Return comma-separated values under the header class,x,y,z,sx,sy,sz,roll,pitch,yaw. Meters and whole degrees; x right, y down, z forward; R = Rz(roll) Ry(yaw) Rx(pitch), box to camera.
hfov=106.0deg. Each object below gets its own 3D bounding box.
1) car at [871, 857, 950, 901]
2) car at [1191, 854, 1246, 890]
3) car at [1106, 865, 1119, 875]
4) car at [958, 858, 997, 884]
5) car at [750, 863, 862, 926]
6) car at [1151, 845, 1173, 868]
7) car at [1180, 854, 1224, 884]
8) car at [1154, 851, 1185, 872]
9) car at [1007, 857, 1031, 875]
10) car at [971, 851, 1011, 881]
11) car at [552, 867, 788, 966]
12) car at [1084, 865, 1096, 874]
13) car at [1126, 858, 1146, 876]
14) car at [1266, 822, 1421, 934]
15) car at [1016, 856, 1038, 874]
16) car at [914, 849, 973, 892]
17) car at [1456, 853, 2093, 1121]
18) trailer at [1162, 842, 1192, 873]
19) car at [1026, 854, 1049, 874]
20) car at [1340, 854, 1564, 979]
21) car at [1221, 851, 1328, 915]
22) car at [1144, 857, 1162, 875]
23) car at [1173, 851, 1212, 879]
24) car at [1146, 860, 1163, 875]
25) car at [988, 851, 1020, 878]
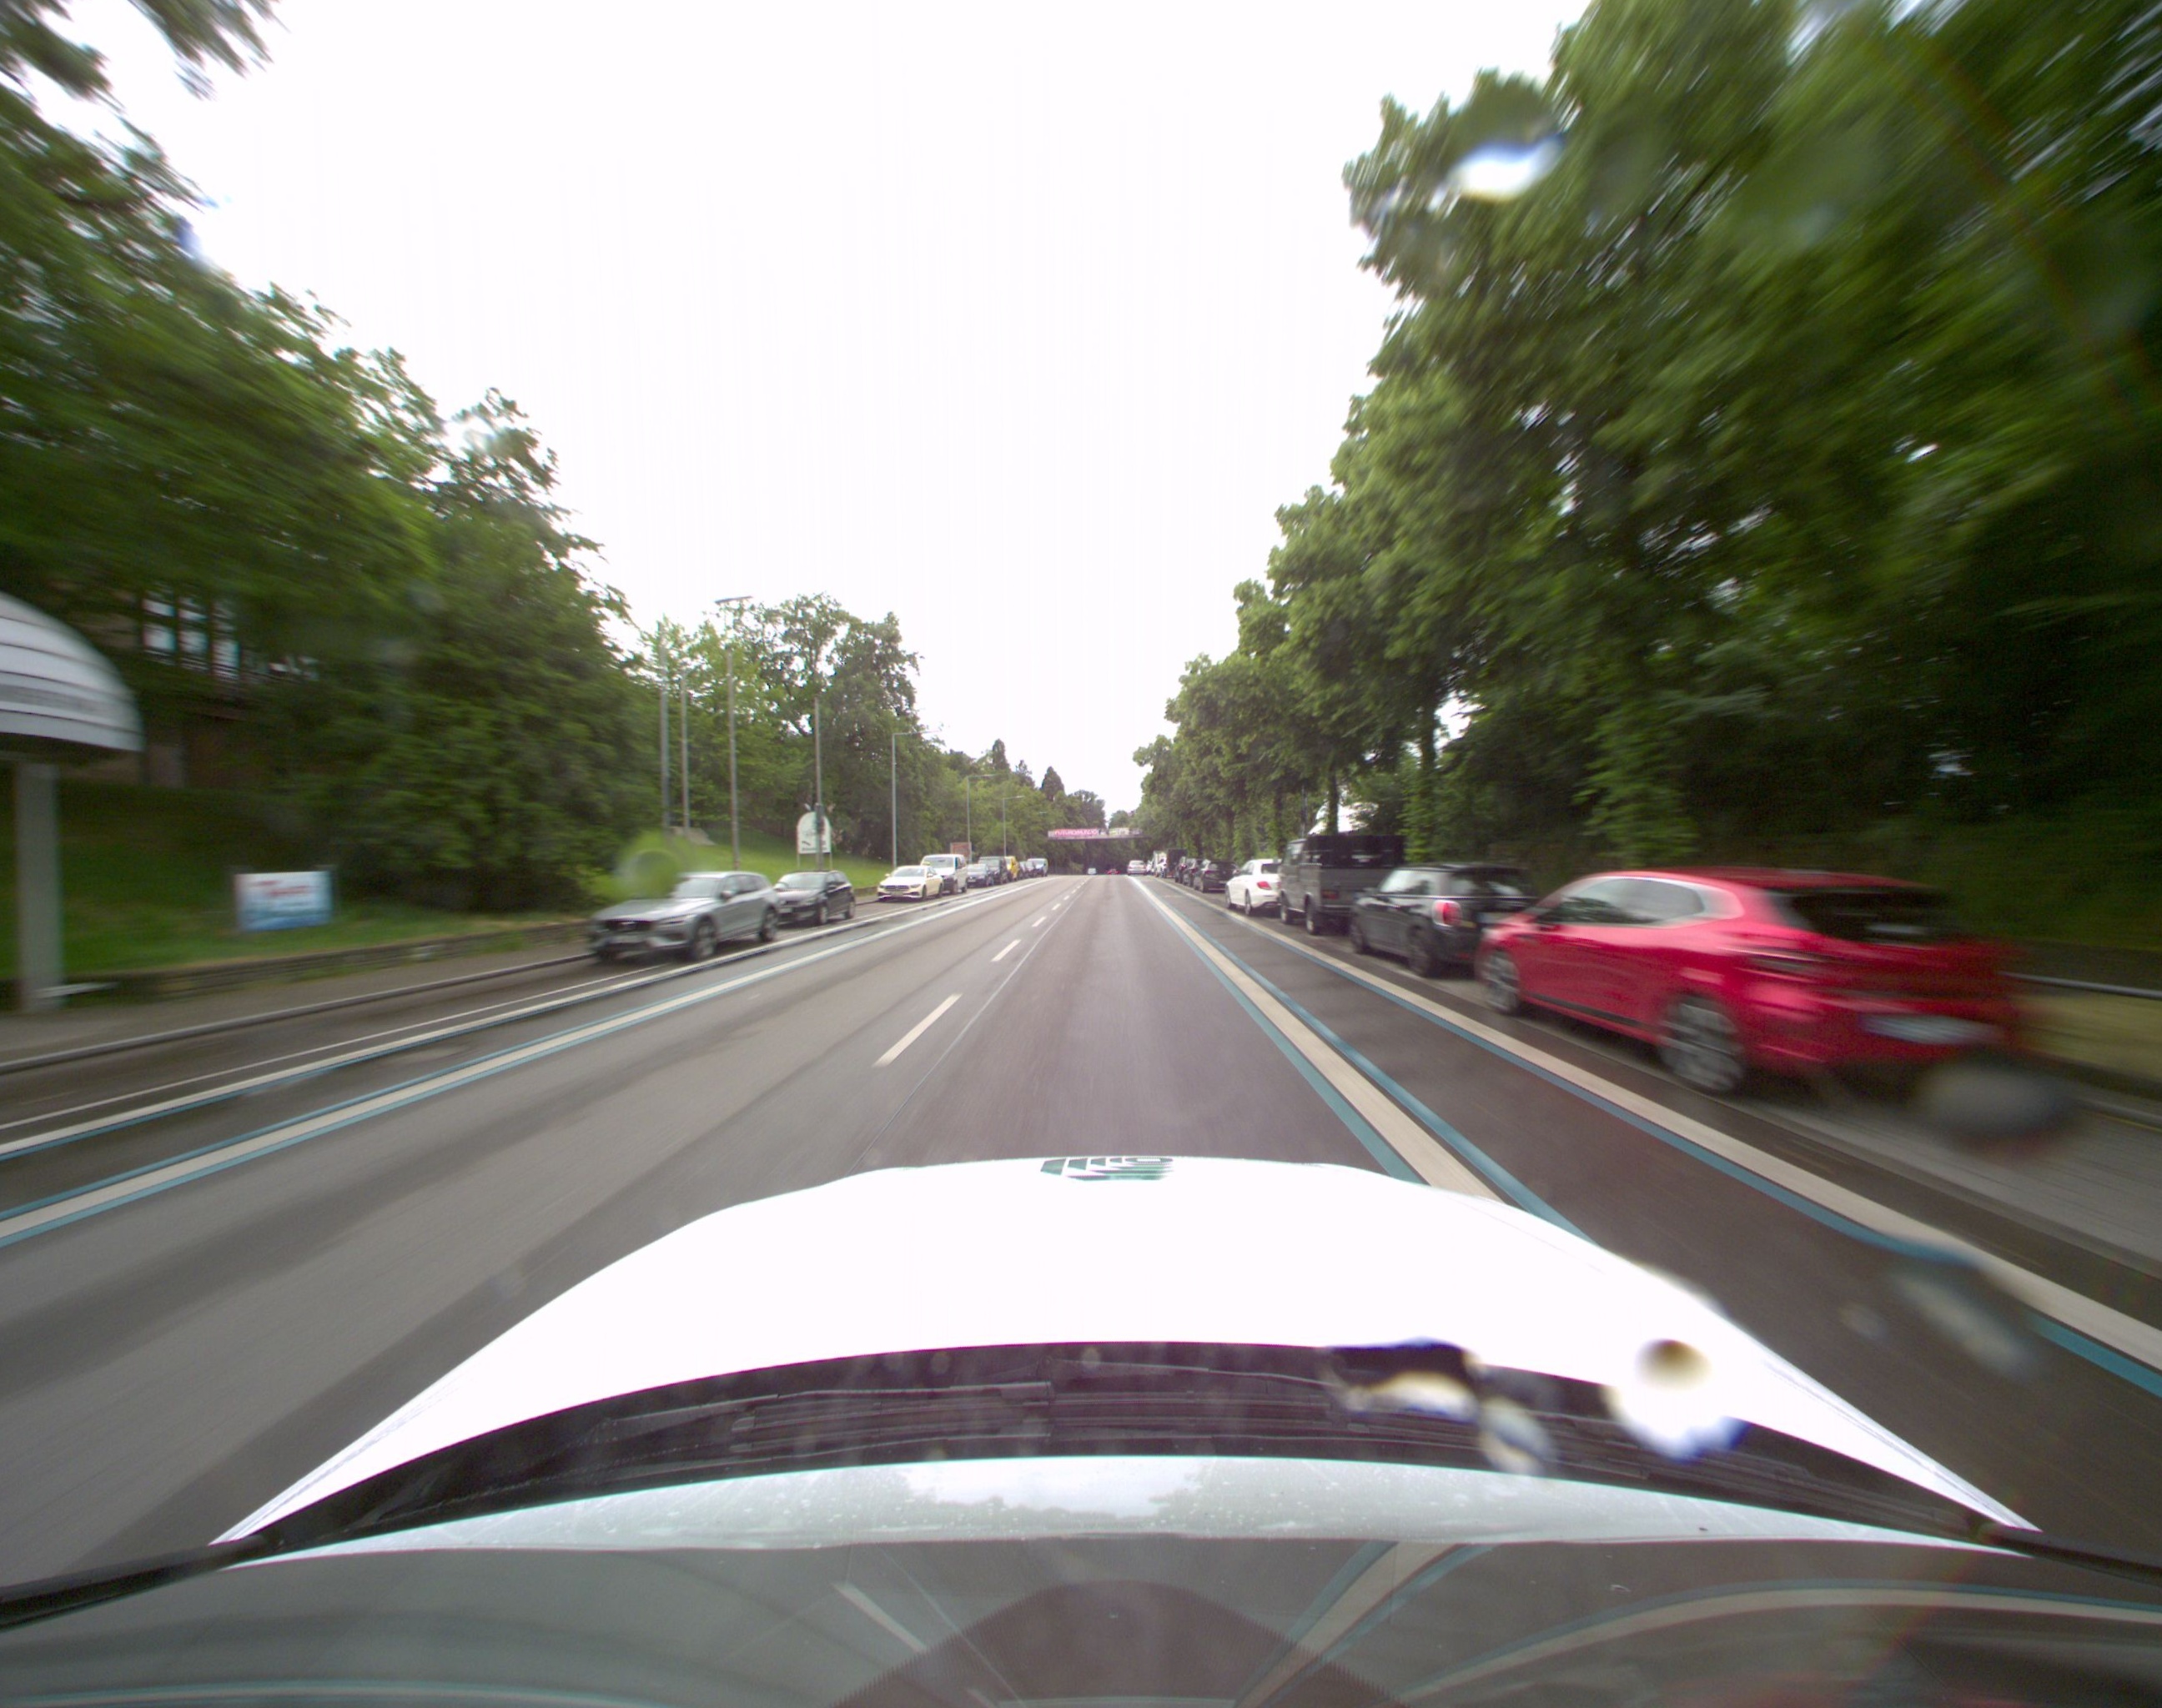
class,x,y,z,sx,sy,sz,roll,pitch,yaw
car,-7.094,0.985,34.441,1.982,1.605,4.989,-2,0,3
car,6.055,0.749,36.276,1.725,1.463,4.277,0,0,0
car,5.610,2.845,145.392,2.134,1.492,4.496,-1,0,-1
car,-6.460,1.032,51.125,1.725,1.390,4.371,-2,1,1
car,-7.370,1.031,22.252,1.690,1.437,4.053,-2,1,-1
car,7.626,0.231,77.172,1.881,2.127,4.048,-2,0,3
car,6.315,0.743,42.723,1.725,1.463,4.072,0,0,0
car,6.972,0.599,64.515,1.727,1.583,4.150,-2,0,-3
car,-5.589,1.076,73.425,1.880,1.451,3.981,-2,1,-1
car,-6.201,0.785,56.586,1.983,1.946,5.144,-2,1,1
car,-7.468,1.043,15.476,2.070,1.482,4.673,-1,0,0
car,1.537,2.653,142.101,1.863,1.473,4.052,-2,-2,-1
car,5.255,1.189,77.688,1.724,1.583,4.038,-2,0,2
car,5.335,0.421,17.254,1.919,2.022,4.666,-1,0,2
car,-5.237,1.058,79.341,1.864,1.542,4.053,-2,1,-1
car,-6.784,0.744,40.666,1.906,1.931,4.929,-2,1,1
car,4.775,0.729,6.564,1.680,1.453,4.167,0,0,1
trailer,7.059,0.262,60.397,1.876,2.166,3.810,-2,0,3
car,-4.611,1.051,86.773,1.749,1.931,4.198,-2,1,5
car,4.989,0.737,11.529,1.599,1.453,3.749,0,0,2
car,5.120,0.708,22.235,1.783,1.543,4.889,0,0,0
car,7.259,1.170,82.466,1.724,1.684,4.048,-2,0,3
car,6.545,0.652,48.198,1.725,1.583,4.154,0,0,0
car,8.030,1.486,89.185,1.724,1.462,4.048,-2,0,3
car,-5.894,0.764,62.844,1.876,1.945,4.827,-2,1,1
